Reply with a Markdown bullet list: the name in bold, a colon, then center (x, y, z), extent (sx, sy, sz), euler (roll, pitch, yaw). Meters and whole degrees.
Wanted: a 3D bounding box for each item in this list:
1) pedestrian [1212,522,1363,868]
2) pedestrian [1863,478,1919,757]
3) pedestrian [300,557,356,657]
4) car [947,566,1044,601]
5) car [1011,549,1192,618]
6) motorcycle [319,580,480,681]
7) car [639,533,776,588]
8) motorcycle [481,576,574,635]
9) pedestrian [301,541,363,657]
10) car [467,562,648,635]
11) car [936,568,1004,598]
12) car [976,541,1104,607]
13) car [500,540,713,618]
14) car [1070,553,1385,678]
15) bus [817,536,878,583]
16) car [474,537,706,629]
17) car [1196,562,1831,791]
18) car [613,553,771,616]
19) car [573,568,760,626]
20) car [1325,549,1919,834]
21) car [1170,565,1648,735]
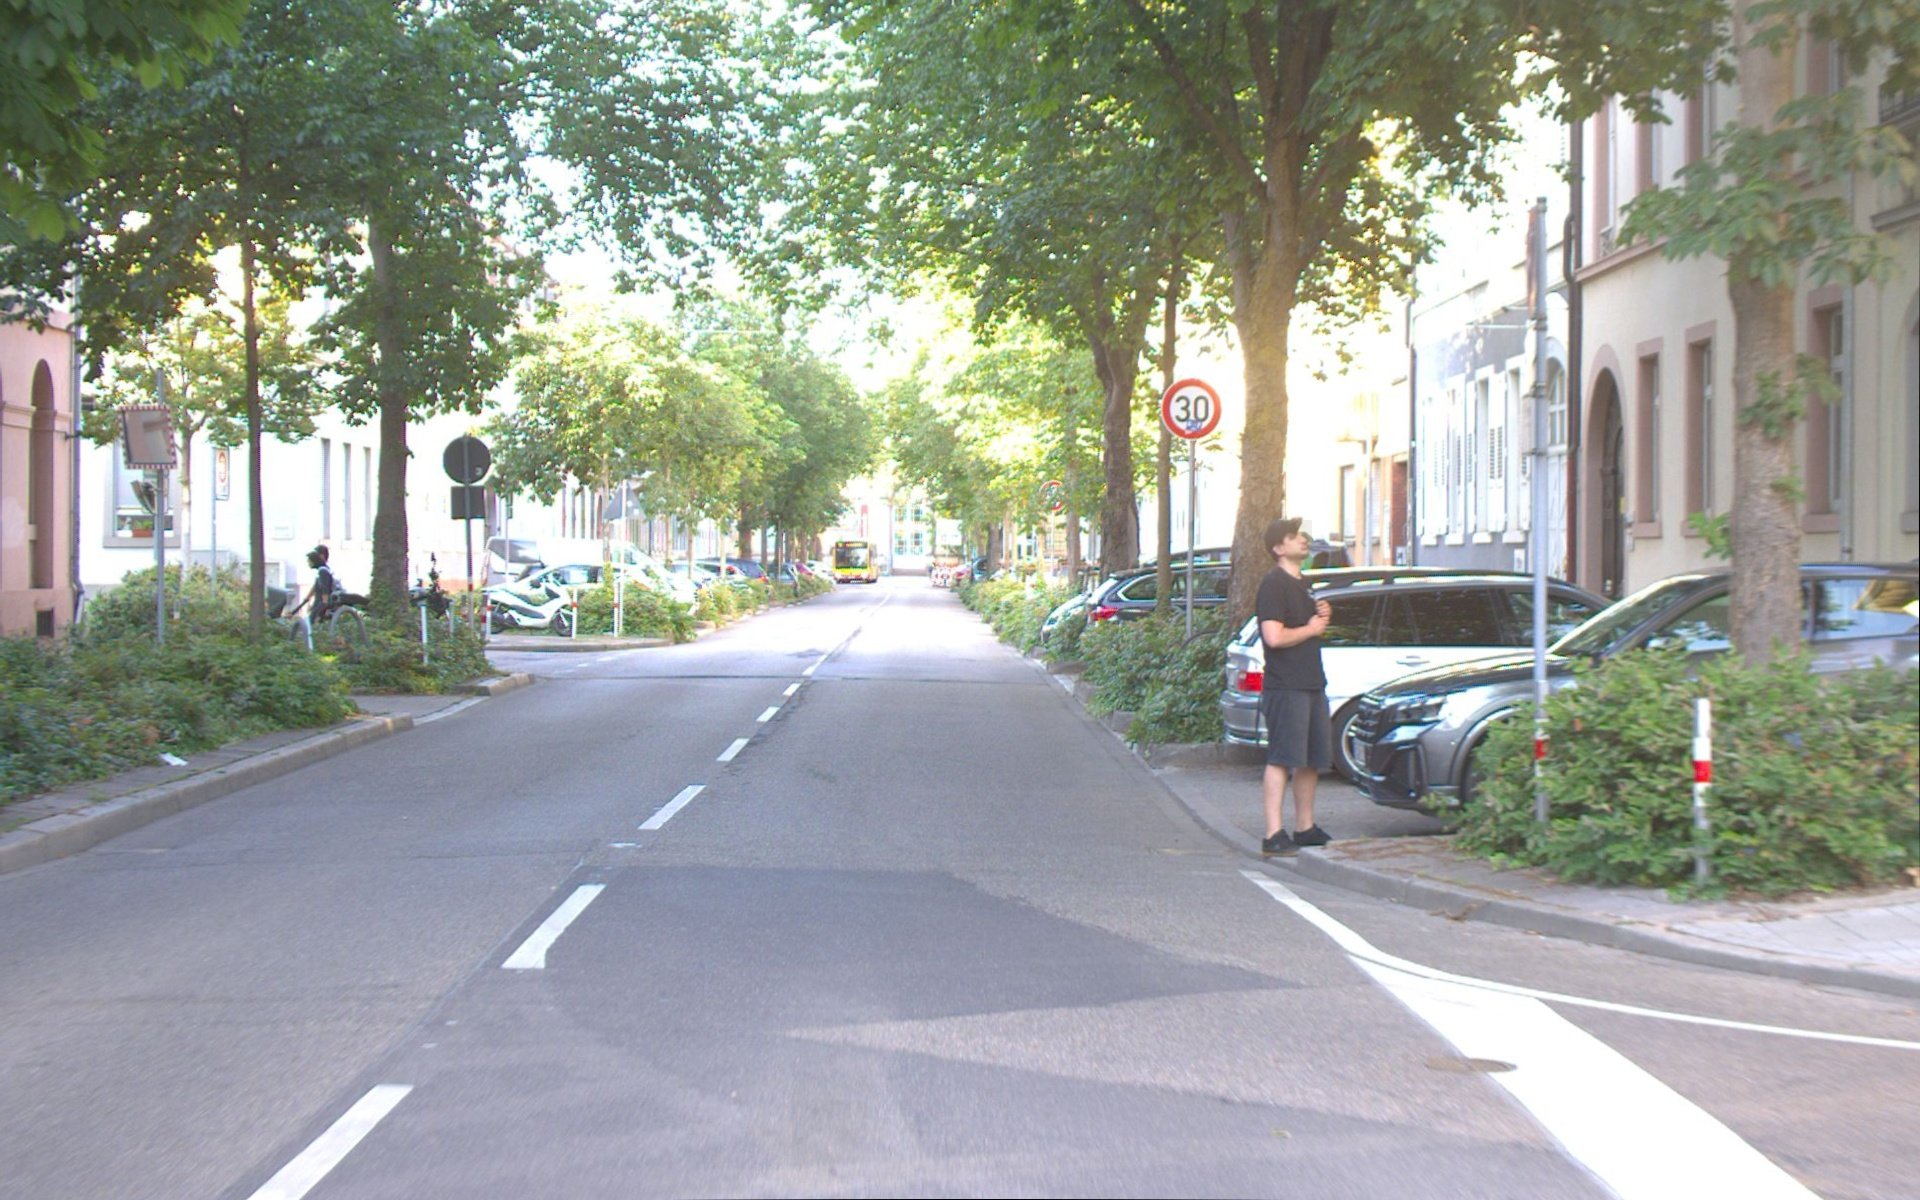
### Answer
- **pedestrian**: center (1.800, 0.506, 18.979), extent (0.794, 1.862, 0.751), euler (1, 1, 5)
- **pedestrian**: center (6.194, 0.095, 21.382), extent (0.943, 1.700, 0.782), euler (0, 2, 1)
- **pedestrian**: center (-8.994, 0.102, 48.908), extent (0.655, 1.390, 0.607), euler (1, 0, -1)
- **car**: center (1.485, -0.690, 143.565), extent (3.986, 1.437, 1.697), euler (0, 1, -2)
- **car**: center (3.625, -0.442, 88.568), extent (4.593, 1.755, 2.222), euler (0, 1, 1)
- **motorcycle**: center (-7.034, 0.379, 43.182), extent (1.919, 1.254, 0.591), euler (0, 1, 0)
- **car**: center (-9.646, -1.519, 131.809), extent (5.064, 2.076, 2.263), euler (0, 1, 1)
- **motorcycle**: center (-8.019, 0.097, 63.784), extent (1.636, 1.064, 0.656), euler (1, 1, 0)
- **pedestrian**: center (-9.098, -0.018, 49.825), extent (0.718, 1.658, 0.838), euler (0, 1, 2)
- **car**: center (-8.506, -0.045, 72.976), extent (3.725, 1.503, 1.873), euler (0, 1, -4)
- **car**: center (0.636, -1.055, 211.038), extent (3.988, 1.831, 1.999), euler (1, 1, 7)
- **car**: center (2.536, -0.829, 108.345), extent (3.987, 2.007, 2.000), euler (1, 1, 3)
- **car**: center (-8.821, -0.533, 86.164), extent (5.064, 1.817, 2.263), euler (0, 3, 1)
- **car**: center (3.519, 0.185, 45.689), extent (4.014, 1.617, 1.781), euler (0, 1, -1)
- **bus**: center (-7.866, -2.808, 239.320), extent (3.027, 3.179, 9.405), euler (0, 1, -9)
- **car**: center (-8.397, -0.399, 78.367), extent (5.064, 2.076, 2.263), euler (0, 1, -1)
- **car**: center (3.857, 0.513, 24.485), extent (4.192, 1.475, 1.852), euler (-1, 1, 0)
- **car**: center (-8.905, -0.523, 114.692), extent (5.064, 2.076, 2.263), euler (0, 1, 1)
- **car**: center (-8.377, -0.103, 98.439), extent (5.064, 1.611, 2.263), euler (0, 1, 3)
- **car**: center (4.251, 0.489, 19.518), extent (4.107, 1.485, 1.850), euler (1, 2, -1)
- **car**: center (3.959, 0.424, 30.791), extent (4.014, 1.475, 1.781), euler (0, 1, -1)
